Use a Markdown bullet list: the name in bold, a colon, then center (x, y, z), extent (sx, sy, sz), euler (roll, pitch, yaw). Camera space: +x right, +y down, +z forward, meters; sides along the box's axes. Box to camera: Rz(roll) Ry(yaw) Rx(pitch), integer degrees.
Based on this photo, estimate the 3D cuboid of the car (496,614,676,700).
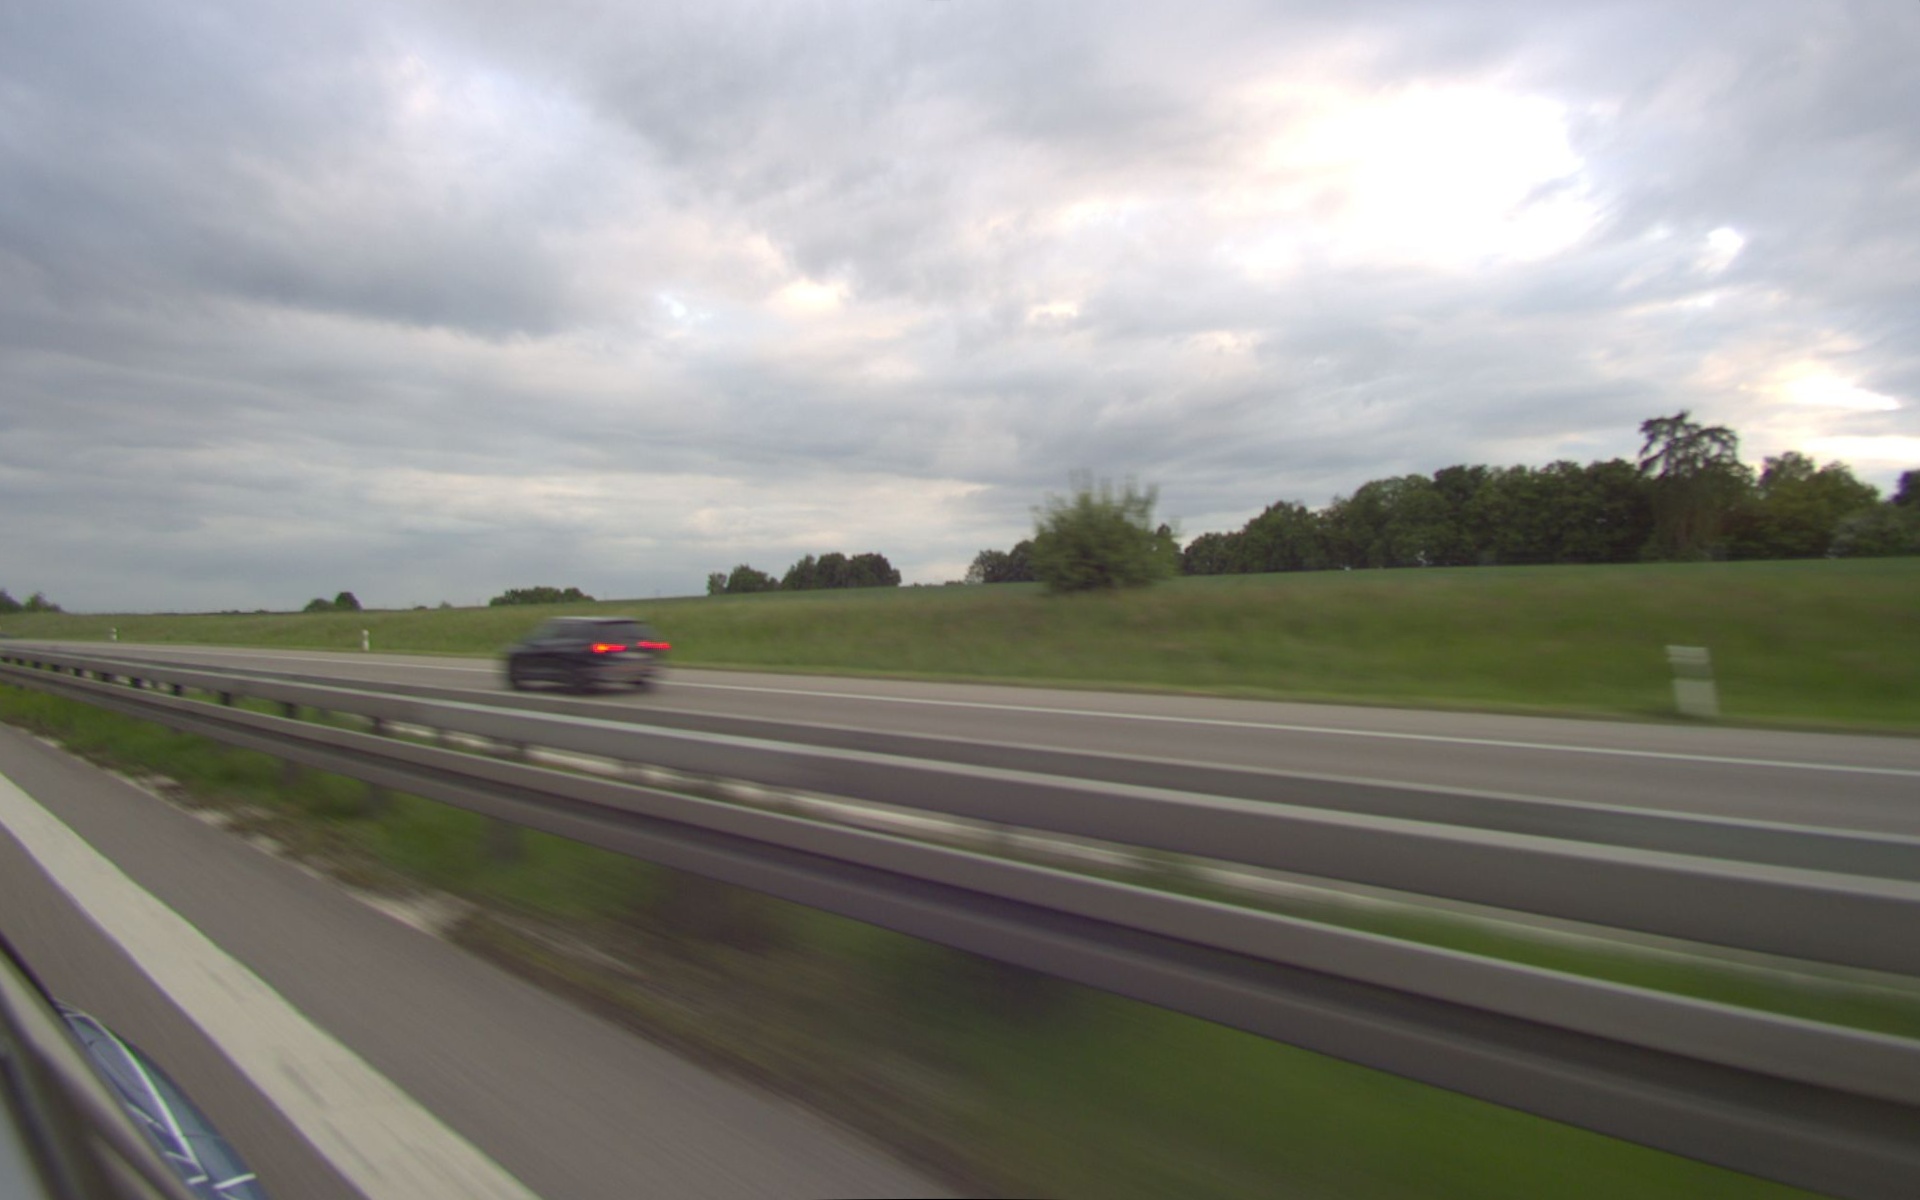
- **car**: center (-8.294, 1.183, 22.283), extent (4.459, 1.676, 1.681), euler (-1, 0, 39)
